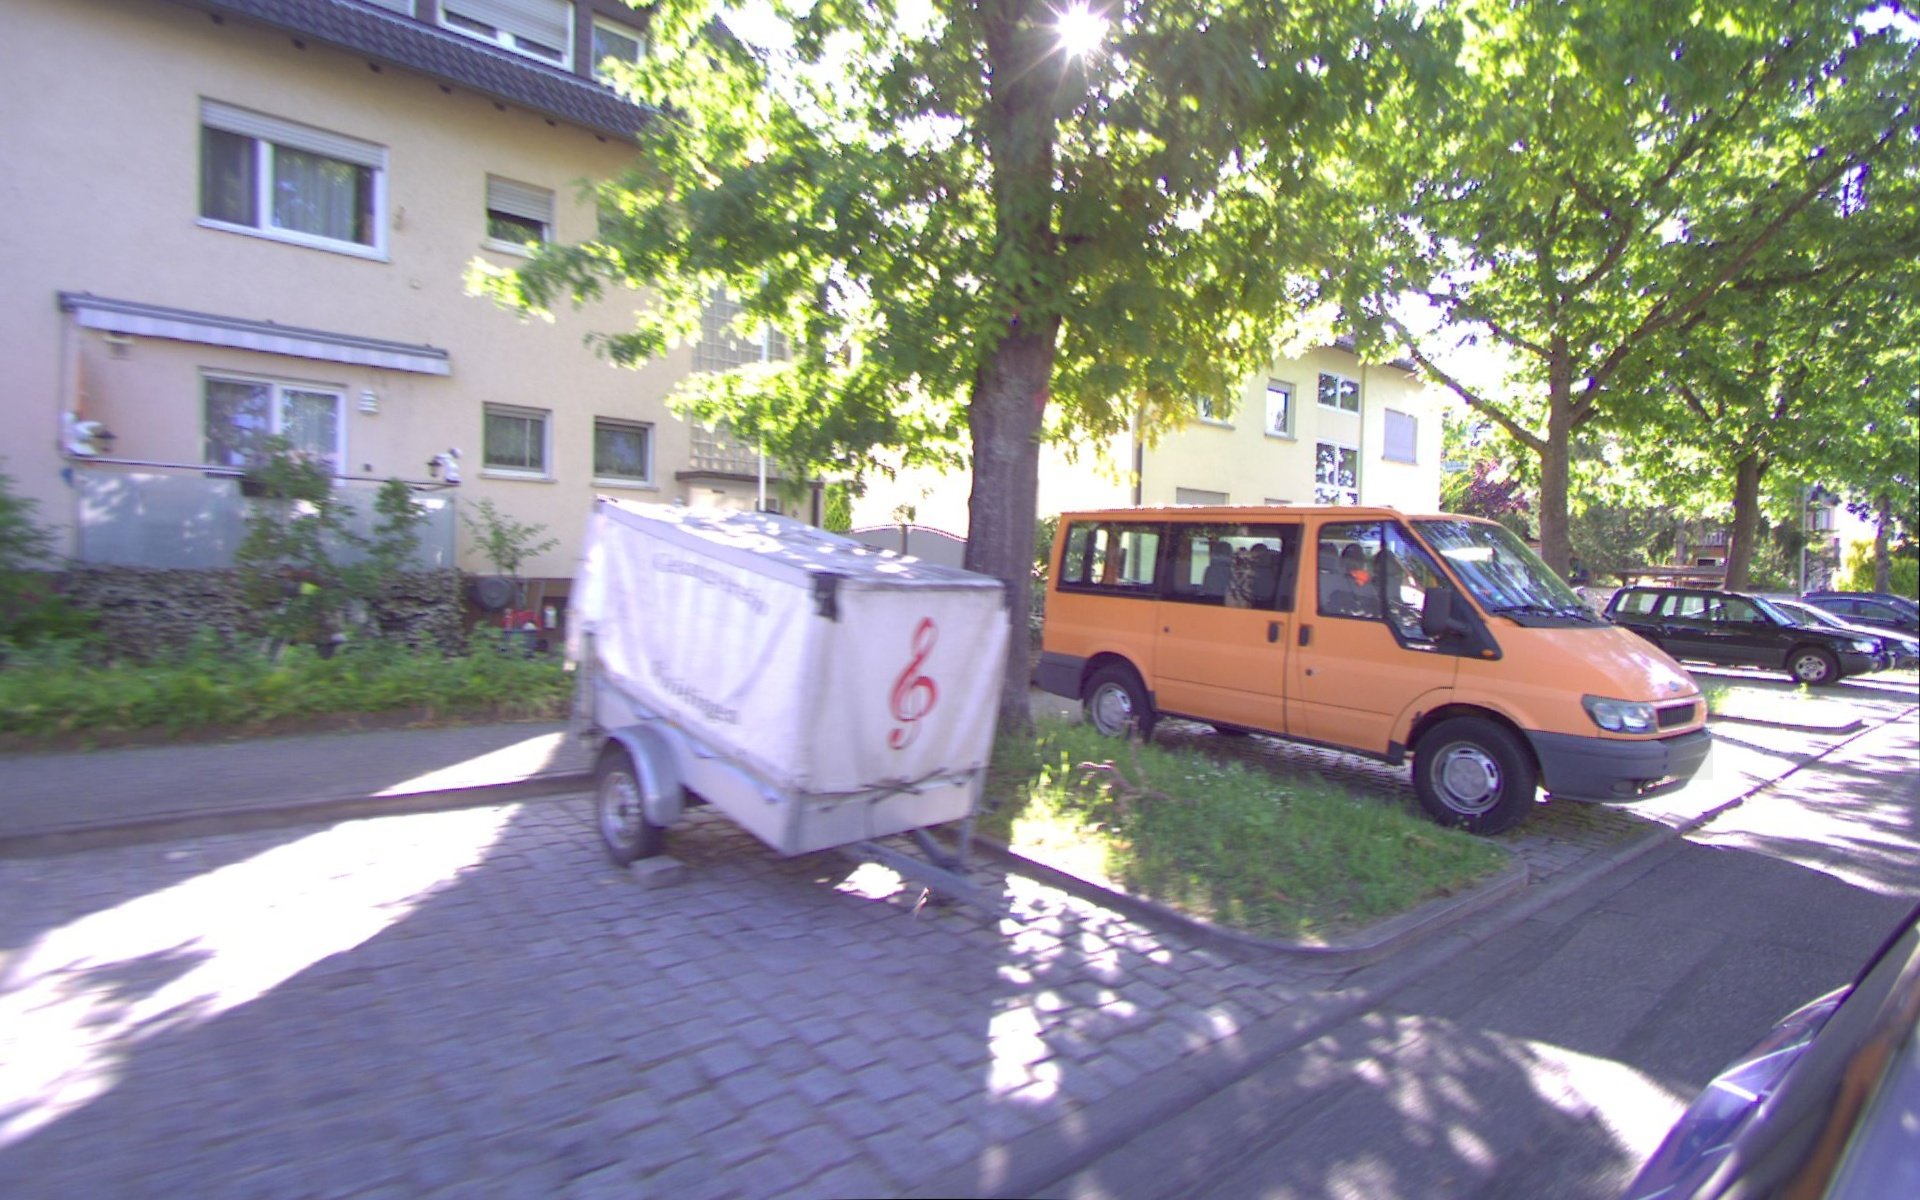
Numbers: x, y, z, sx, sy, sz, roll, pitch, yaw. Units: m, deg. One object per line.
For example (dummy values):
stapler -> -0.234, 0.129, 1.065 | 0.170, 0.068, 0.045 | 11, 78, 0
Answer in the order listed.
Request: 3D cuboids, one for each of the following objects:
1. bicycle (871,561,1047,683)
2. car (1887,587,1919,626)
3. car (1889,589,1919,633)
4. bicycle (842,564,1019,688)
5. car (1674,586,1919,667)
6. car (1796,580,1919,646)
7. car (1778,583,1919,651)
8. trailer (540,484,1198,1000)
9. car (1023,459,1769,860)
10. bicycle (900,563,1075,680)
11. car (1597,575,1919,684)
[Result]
bicycle -> -0.099, 0.199, 12.638 | 0.459, 1.252, 2.866 | -1, 4, -39
car -> 38.613, 0.360, 38.589 | 1.804, 1.463, 4.517 | 0, 3, -38
car -> 35.262, 0.464, 35.399 | 1.723, 1.502, 3.789 | -1, 4, -38
bicycle -> -0.442, 0.244, 12.287 | 0.459, 1.252, 2.866 | 0, 3, -39
car -> 18.392, 0.513, 21.912 | 1.659, 1.347, 4.442 | 0, 4, -37
car -> 26.395, 0.397, 28.112 | 1.805, 1.666, 4.586 | 0, 4, -39
car -> 24.249, 0.468, 26.312 | 1.808, 1.548, 4.331 | 1, 3, -40
trailer -> -0.598, 0.344, 4.872 | 2.947, 1.684, 1.589 | 6, 5, 44
car -> 2.921, 0.172, 7.823 | 2.049, 2.108, 4.830 | 0, 3, -40
bicycle -> 0.268, 0.208, 12.945 | 0.459, 1.252, 2.866 | -1, 4, -39
car -> 14.506, 0.435, 18.583 | 1.835, 1.579, 4.348 | 0, 3, -40
